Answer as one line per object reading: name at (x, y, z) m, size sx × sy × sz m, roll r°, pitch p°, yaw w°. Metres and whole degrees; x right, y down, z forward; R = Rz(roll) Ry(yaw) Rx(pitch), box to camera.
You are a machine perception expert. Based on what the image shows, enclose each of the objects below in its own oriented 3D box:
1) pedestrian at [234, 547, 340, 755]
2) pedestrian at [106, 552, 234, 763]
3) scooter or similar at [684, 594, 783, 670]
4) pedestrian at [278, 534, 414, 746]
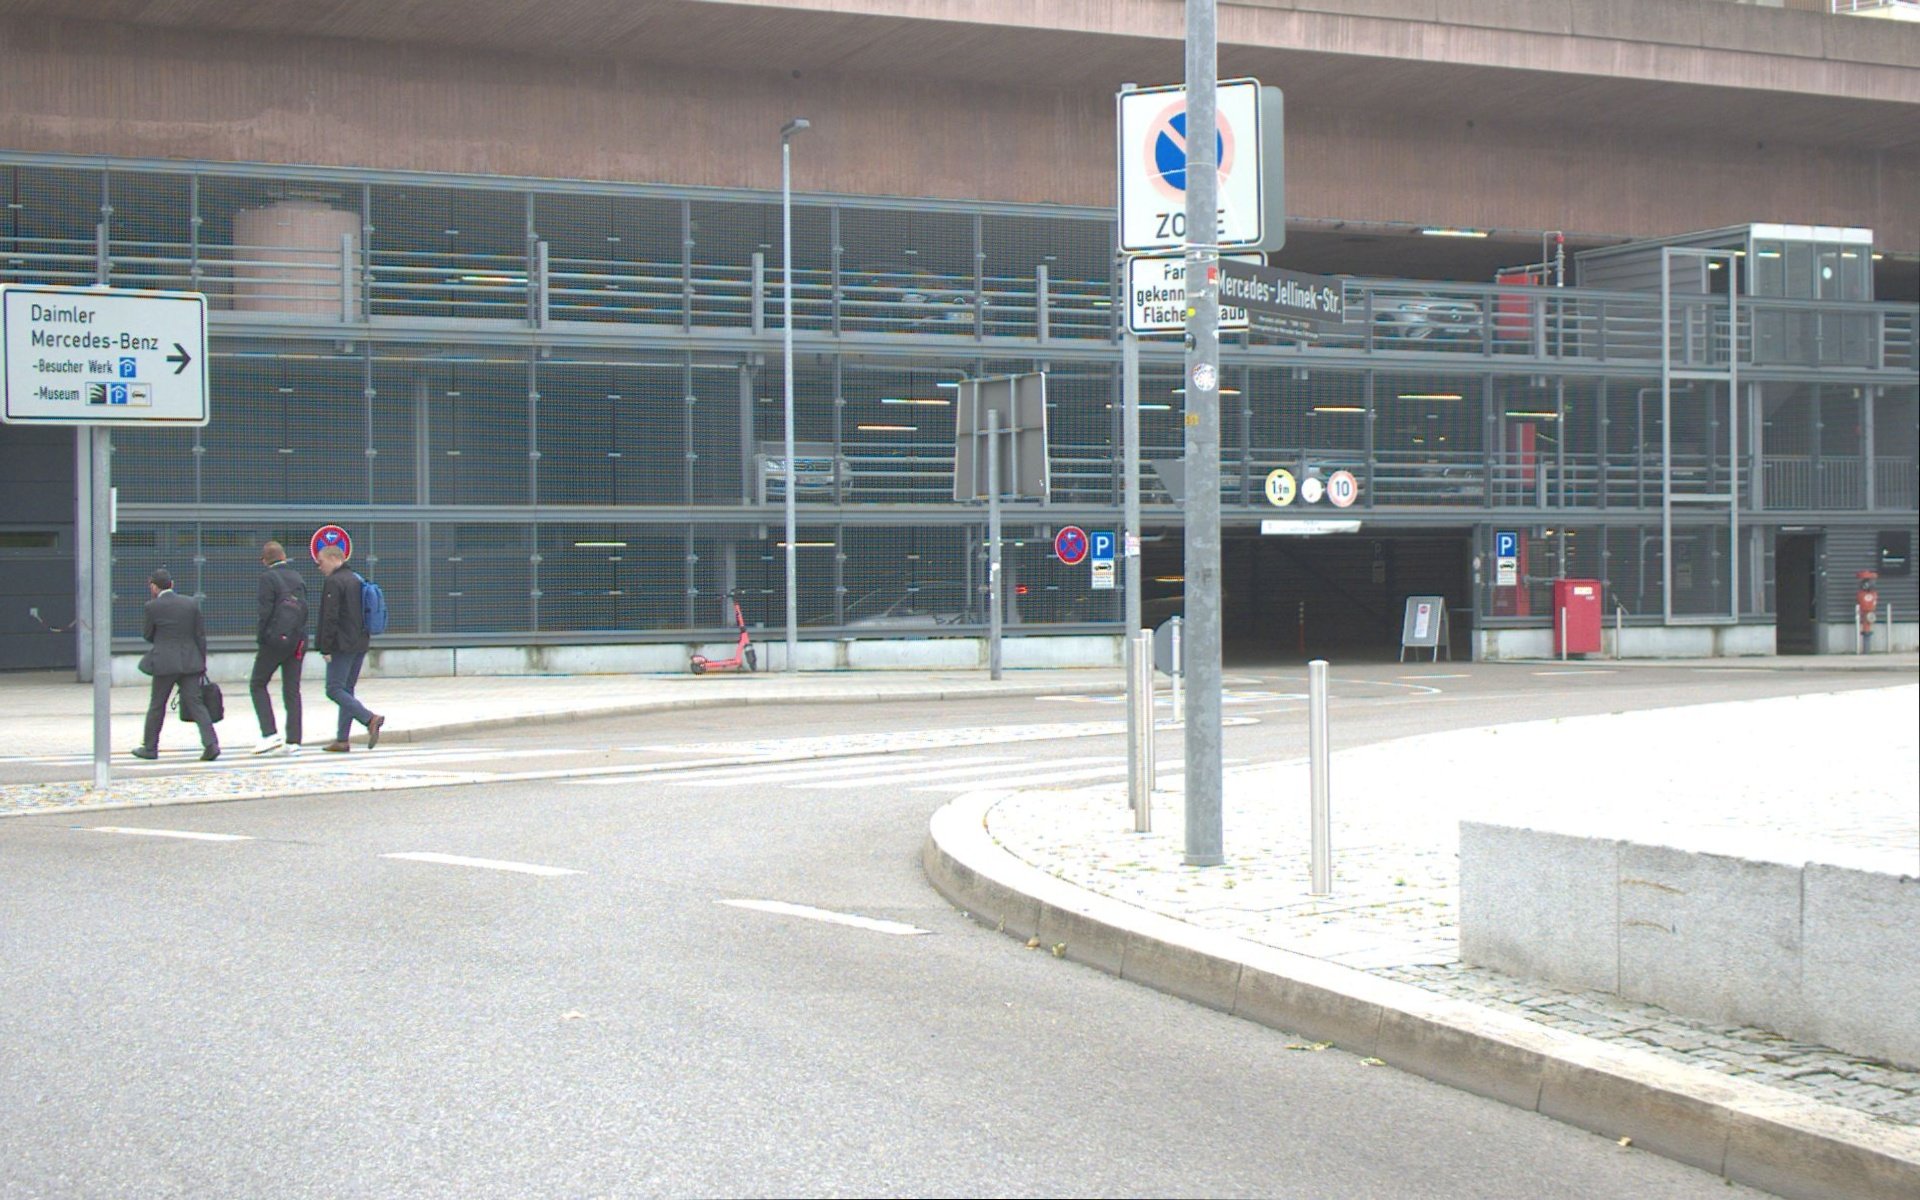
pedestrian at (-5.612, 0.416, 28.689) m, size 0.784 × 1.699 × 0.773 m, roll 1°, pitch 0°, yaw -6°
pedestrian at (-6.504, 0.463, 28.320) m, size 0.862 × 1.699 × 0.773 m, roll 1°, pitch 0°, yaw -1°
scooter or similar at (-3.372, 0.476, 51.264) m, size 1.423 × 1.119 × 0.381 m, roll 1°, pitch 0°, yaw -29°
pedestrian at (-5.310, 0.337, 29.723) m, size 0.863 × 1.792 × 0.783 m, roll 0°, pitch 1°, yaw -40°
